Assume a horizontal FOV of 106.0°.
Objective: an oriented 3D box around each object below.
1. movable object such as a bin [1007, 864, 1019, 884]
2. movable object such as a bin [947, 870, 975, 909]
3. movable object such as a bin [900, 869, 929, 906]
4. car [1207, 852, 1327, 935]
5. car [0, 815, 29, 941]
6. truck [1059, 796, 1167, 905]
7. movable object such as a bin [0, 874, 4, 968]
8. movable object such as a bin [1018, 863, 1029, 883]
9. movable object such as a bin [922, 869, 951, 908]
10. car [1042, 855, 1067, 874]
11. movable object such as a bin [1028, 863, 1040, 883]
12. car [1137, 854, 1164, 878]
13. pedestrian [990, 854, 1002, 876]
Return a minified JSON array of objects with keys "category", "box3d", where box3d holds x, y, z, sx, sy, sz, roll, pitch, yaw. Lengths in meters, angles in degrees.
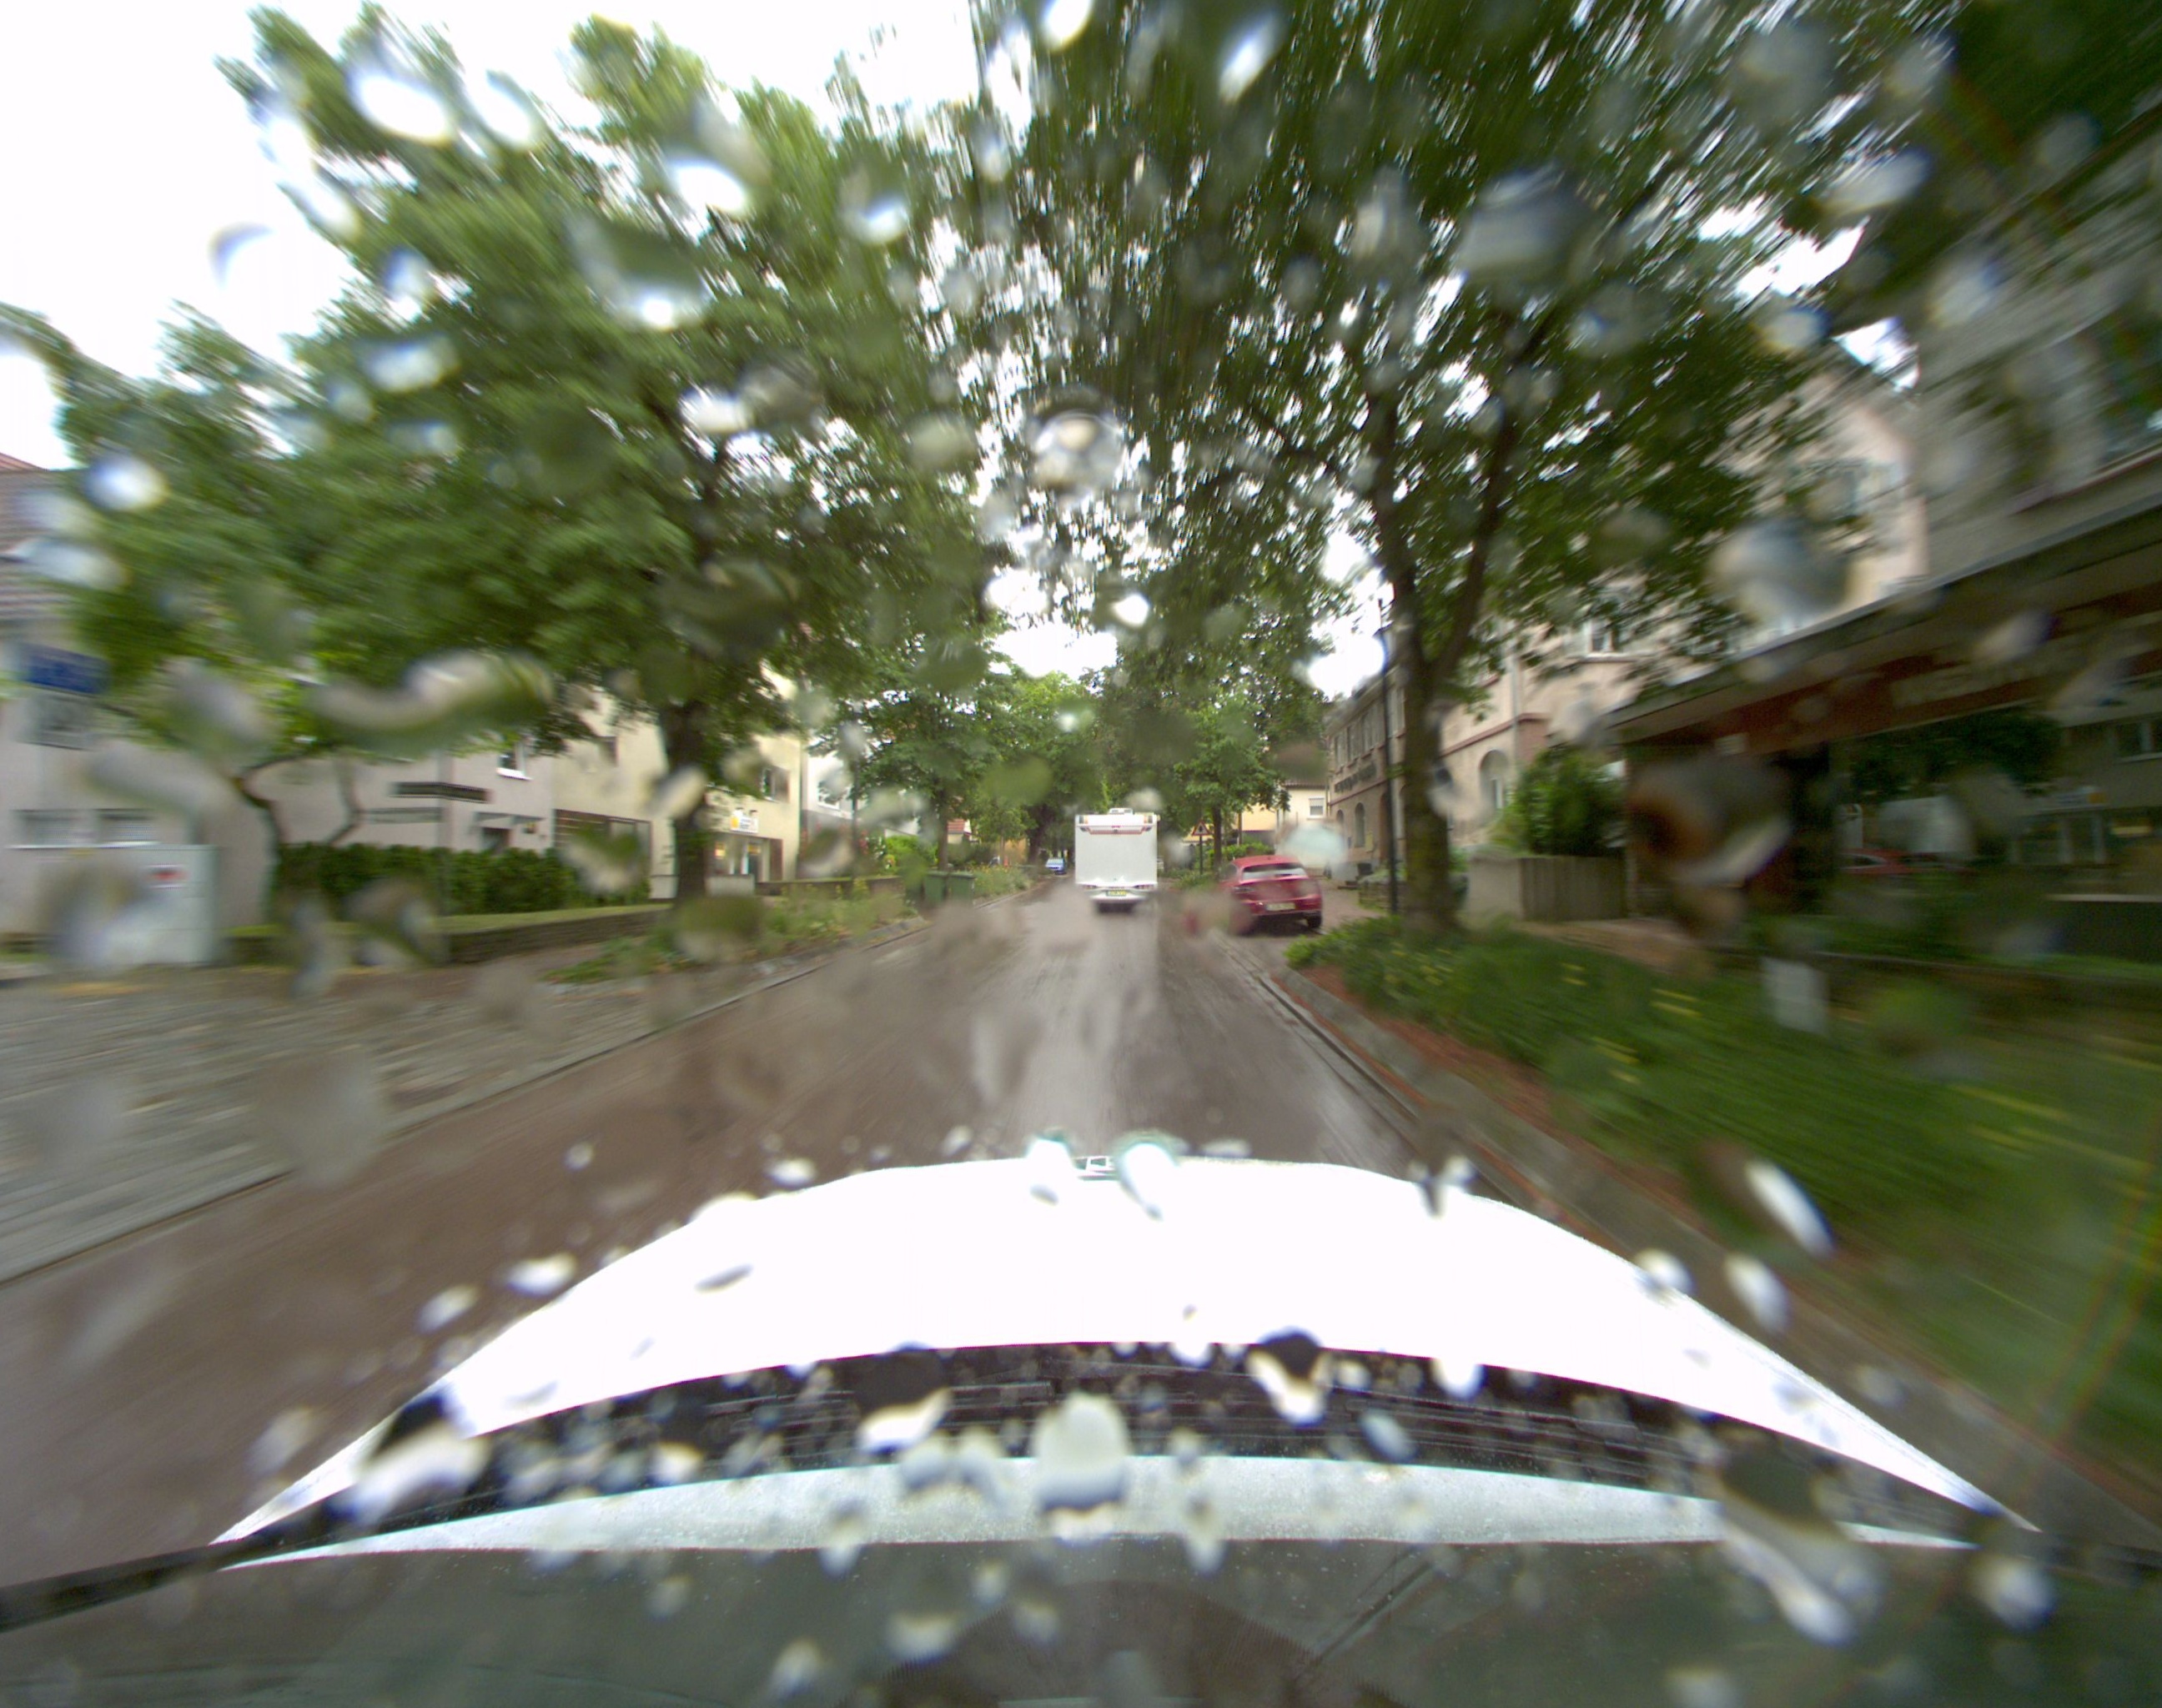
[{"category":"movable object such as a bin","box3d":[-3.705,1.078,44.437,0.526,1.058,0.562,-2,-1,2]},{"category":"movable object such as a bin","box3d":[-3.498,1.024,23.831,0.667,1.095,0.817,-1,-1,2]},{"category":"movable object such as a bin","box3d":[-4.979,0.999,24.454,0.667,1.105,0.817,-1,-1,2]},{"category":"car","box3d":[3.690,0.700,16.863,1.846,1.472,4.371,0,0,5]},{"category":"car","box3d":[-16.779,0.310,10.883,4.394,1.687,2.010,0,-1,19]},{"category":"truck","box3d":[0.943,-0.027,24.629,2.795,2.797,6.109,-2,-1,2]},{"category":"movable object such as a bin","box3d":[-12.296,0.741,8.722,0.568,1.035,0.742,-1,-1,14]},{"category":"movable object such as a bin","box3d":[-3.132,1.029,44.437,0.526,1.058,0.562,-2,-1,2]},{"category":"movable object such as a bin","box3d":[-4.220,1.008,23.796,0.667,1.105,0.817,-1,-1,2]},{"category":"car","box3d":[-2.302,0.936,69.326,1.795,1.552,3.991,-2,-1,-6]},{"category":"movable object such as a bin","box3d":[-2.564,1.027,44.466,0.526,1.058,0.562,-2,-1,2]},{"category":"car","box3d":[4.812,0.829,56.759,1.642,1.542,3.533,-2,-1,3]},{"category":"pedestrian","box3d":[-7.045,0.914,67.424,0.814,1.844,0.770,-2,-1,1]}]
